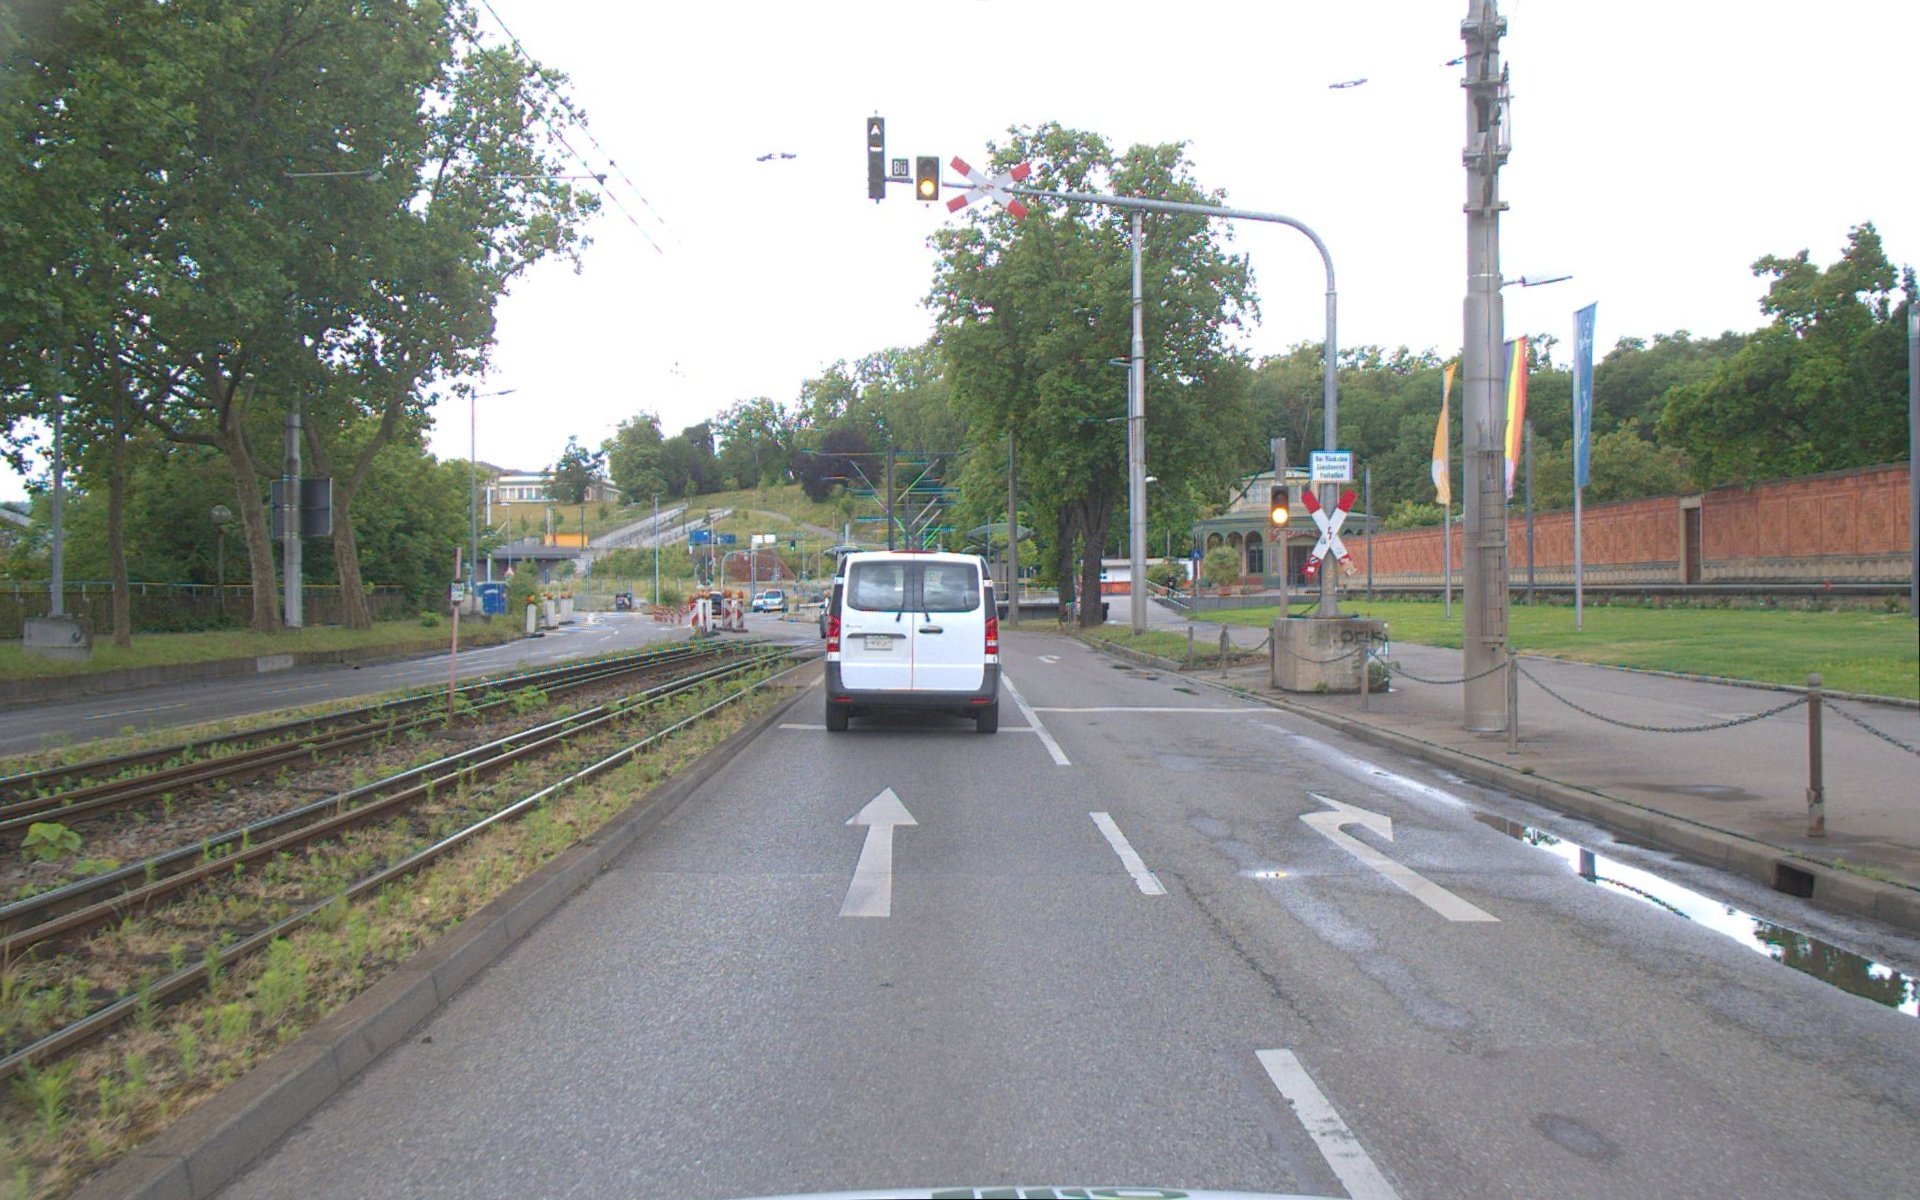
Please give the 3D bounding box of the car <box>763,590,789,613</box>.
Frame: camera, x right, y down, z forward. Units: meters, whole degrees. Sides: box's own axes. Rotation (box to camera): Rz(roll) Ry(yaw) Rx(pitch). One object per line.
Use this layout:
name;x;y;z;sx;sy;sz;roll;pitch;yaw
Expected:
car;-14.920;0.096;134.389;1.717;1.803;3.999;1;0;-1

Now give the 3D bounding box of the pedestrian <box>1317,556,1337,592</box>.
pedestrian;19.436;-1.382;87.607;0.929;1.870;0.550;1;-1;6

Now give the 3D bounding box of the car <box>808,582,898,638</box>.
car;-3.278;0.306;49.933;1.809;1.610;4.042;1;0;-17

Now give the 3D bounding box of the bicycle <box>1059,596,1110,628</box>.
bicycle;4.812;0.460;63.916;1.949;1.178;0.741;-1;0;4

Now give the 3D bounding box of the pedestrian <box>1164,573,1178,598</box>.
pedestrian;10.671;-0.737;83.521;0.537;1.222;0.668;1;-1;-7

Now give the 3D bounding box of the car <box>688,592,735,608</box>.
car;-26.997;-0.011;179.521;4.608;1.503;2.002;-2;1;10

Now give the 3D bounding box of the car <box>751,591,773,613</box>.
car;-19.140;0.192;159.867;1.896;2.049;3.996;1;0;-5

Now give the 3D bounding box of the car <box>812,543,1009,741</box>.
car;-0.529;0.418;18.501;1.919;1.937;4.460;0;0;-1

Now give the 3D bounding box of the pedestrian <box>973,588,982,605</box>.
pedestrian;1.296;-0.273;123.156;0.644;1.212;0.676;1;-1;1
